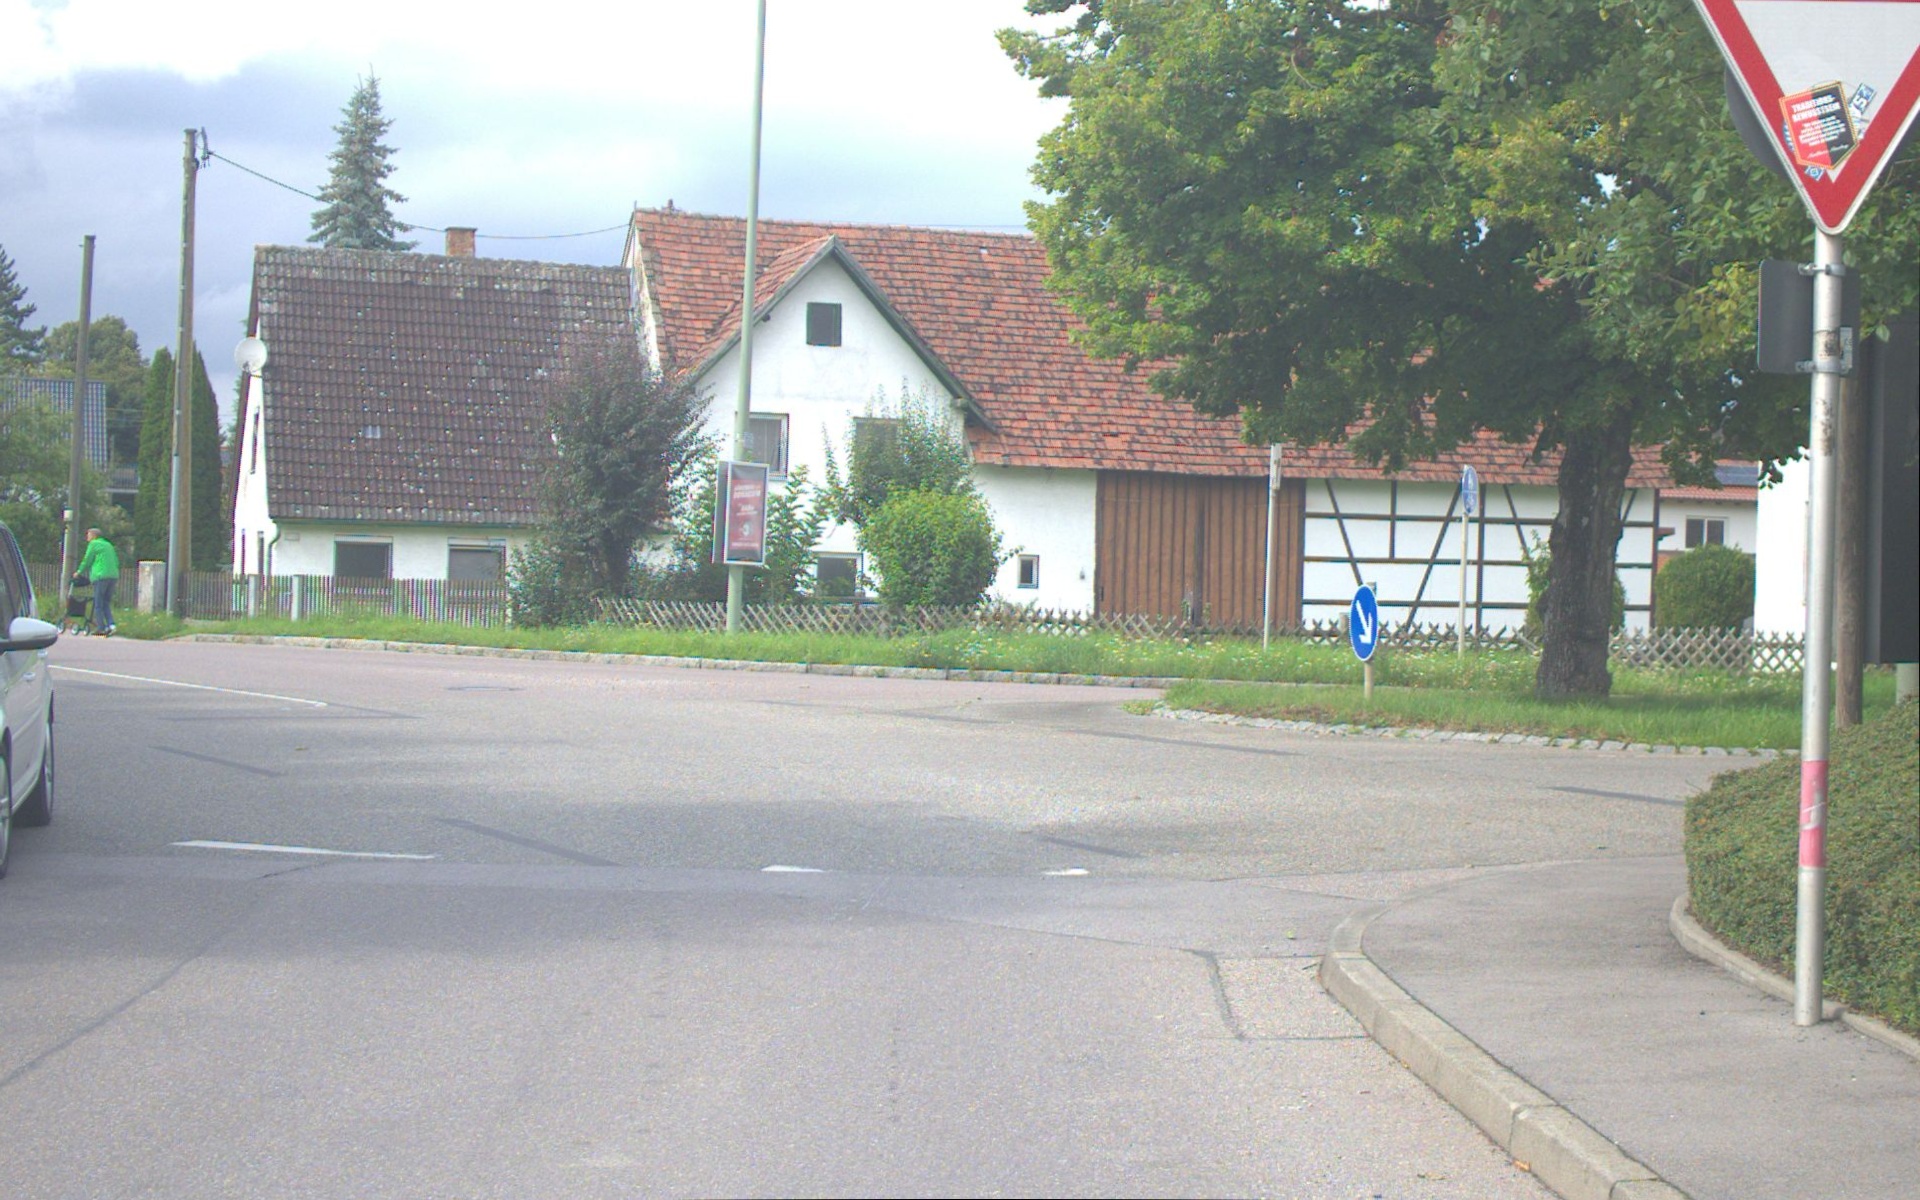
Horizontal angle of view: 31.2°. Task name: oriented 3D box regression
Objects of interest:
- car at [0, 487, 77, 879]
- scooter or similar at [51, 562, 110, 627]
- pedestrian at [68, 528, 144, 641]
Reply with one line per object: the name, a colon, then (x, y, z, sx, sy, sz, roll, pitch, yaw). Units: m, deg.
car: (-5.124, 0.325, 15.804, 1.698, 1.659, 4.033, 0, 1, -9)
scooter or similar: (-13.787, -0.080, 53.914, 0.630, 0.945, 0.622, 7, -2, -34)
pedestrian: (-13.237, -0.241, 53.302, 0.788, 1.659, 0.712, 7, -2, -34)
